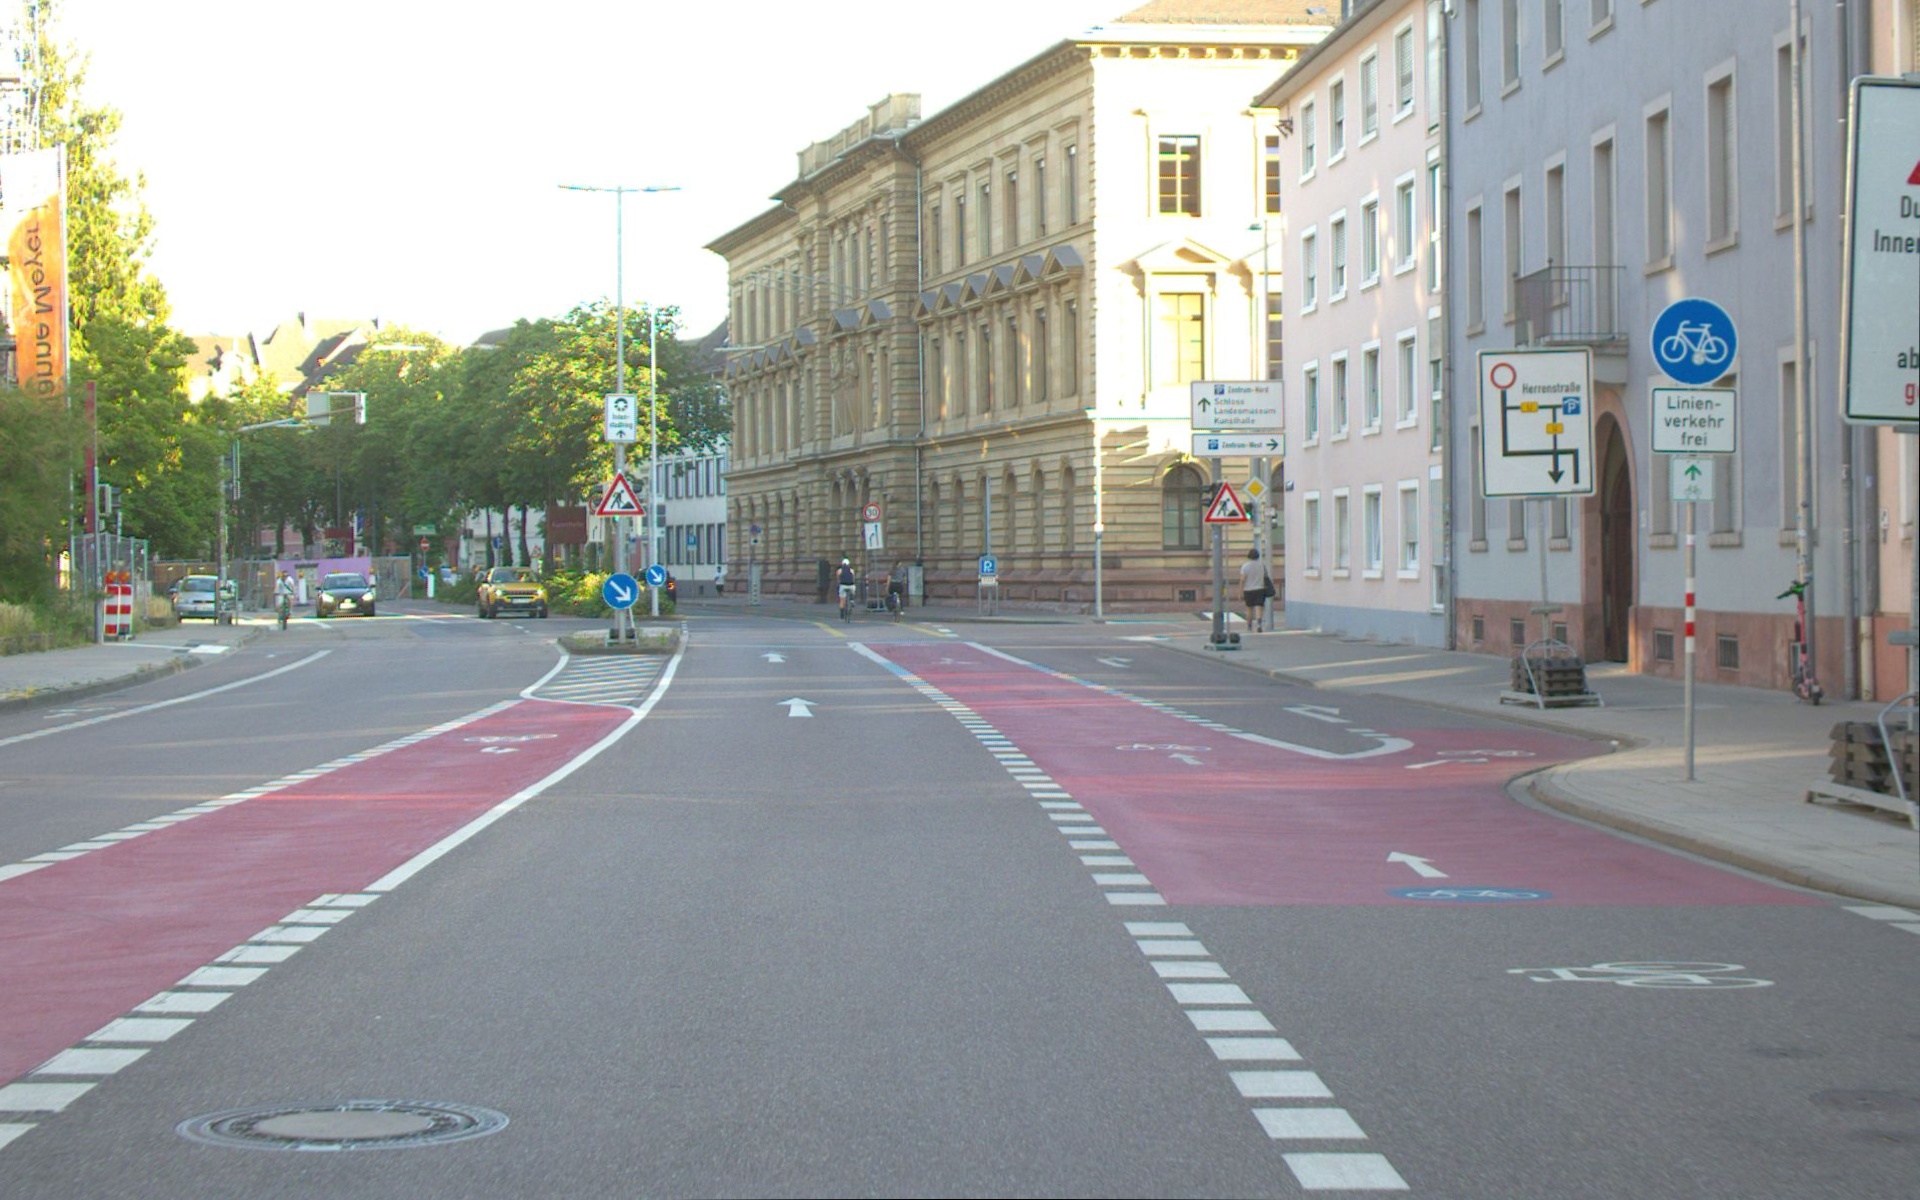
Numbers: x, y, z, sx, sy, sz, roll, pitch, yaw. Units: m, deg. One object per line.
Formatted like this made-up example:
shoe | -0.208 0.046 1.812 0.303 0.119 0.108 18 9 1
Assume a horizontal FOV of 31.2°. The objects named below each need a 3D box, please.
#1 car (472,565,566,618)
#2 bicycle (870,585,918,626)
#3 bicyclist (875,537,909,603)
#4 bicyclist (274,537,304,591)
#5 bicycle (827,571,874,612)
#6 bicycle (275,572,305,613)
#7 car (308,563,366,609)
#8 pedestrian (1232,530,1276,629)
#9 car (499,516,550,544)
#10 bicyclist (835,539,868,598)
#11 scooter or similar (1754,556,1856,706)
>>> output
car | -13.287 -0.265 103.794 1.846 1.542 4.118 -1 1 6
bicycle | -1.768 0.145 91.568 0.652 1.067 2.259 2 0 -17
bicyclist | -1.808 -0.800 91.773 0.649 1.754 0.864 2 0 -17
bicyclist | -18.792 -1.006 96.266 0.747 1.455 0.937 -2 1 -10
bicycle | -2.917 -0.232 91.610 0.669 1.067 1.902 1 0 -20
bicycle | -18.763 -0.212 96.286 0.753 1.086 1.933 -2 1 -10
car | -20.882 -0.488 115.303 1.823 1.503 4.428 -1 1 -9
pedestrian | 6.026 -0.417 70.507 0.785 2.007 0.994 0 1 11
car | -24.978 -4.021 197.259 1.812 1.555 3.865 0 0 -25
bicyclist | -2.887 -0.839 91.566 0.668 1.560 0.699 2 -1 -19
scooter or similar | 8.579 0.301 34.960 0.725 1.454 1.671 -3 0 6
